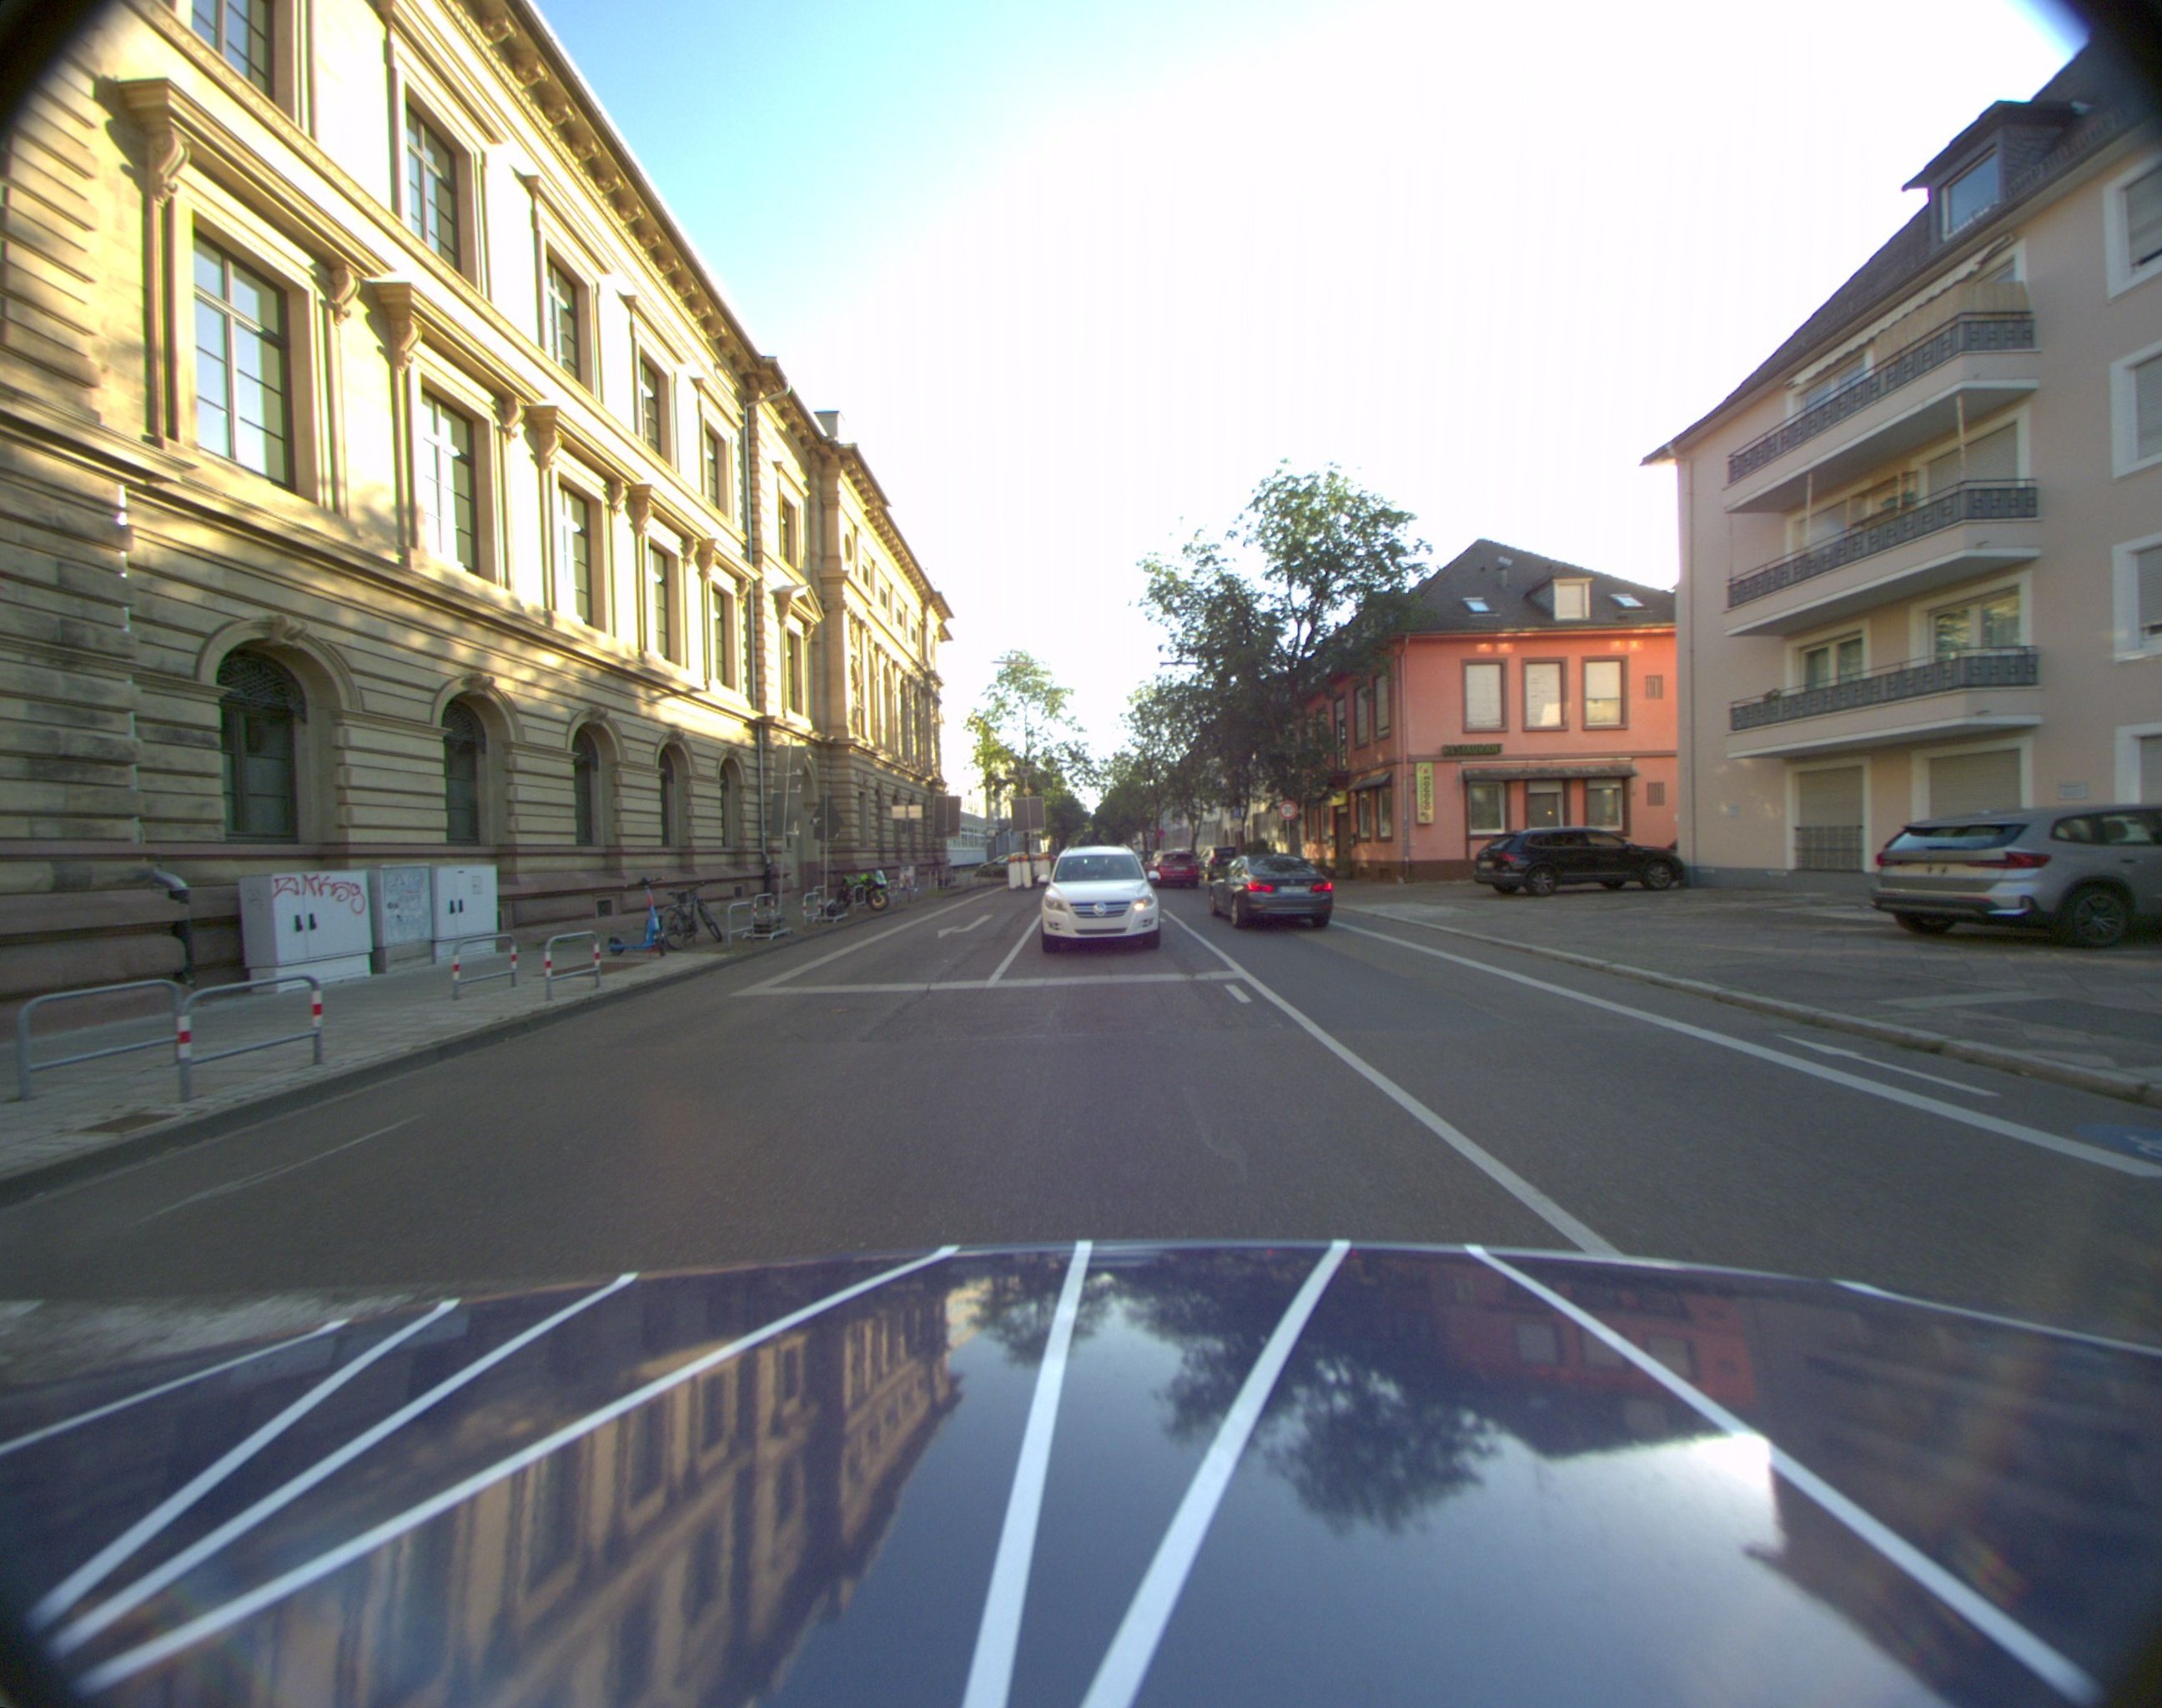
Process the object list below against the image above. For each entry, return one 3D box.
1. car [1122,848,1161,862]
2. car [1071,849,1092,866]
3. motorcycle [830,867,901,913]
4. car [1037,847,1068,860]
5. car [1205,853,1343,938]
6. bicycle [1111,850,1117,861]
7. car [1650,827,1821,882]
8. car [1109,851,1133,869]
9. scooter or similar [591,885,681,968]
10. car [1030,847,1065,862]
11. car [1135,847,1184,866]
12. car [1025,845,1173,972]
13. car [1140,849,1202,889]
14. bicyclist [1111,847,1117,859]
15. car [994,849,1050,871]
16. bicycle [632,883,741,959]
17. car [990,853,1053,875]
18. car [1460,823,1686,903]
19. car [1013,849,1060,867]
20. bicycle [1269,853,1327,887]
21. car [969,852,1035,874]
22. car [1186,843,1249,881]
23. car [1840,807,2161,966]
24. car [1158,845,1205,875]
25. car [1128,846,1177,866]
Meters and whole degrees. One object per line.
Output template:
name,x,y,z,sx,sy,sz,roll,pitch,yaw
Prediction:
car,7.014,0.140,88.237,4.230,1.499,1.800,-2,1,-2
car,0.002,0.322,73.199,1.951,1.546,3.999,-2,0,-1
motorcycle,-6.209,1.004,21.830,2.098,1.208,0.711,1,1,30
car,-3.965,-0.099,106.706,4.368,1.863,1.733,0,1,-2
car,3.842,0.744,15.886,1.786,1.451,4.422,-1,1,0
bicycle,3.823,0.128,87.955,0.626,1.149,2.052,-2,2,1
car,20.565,0.004,23.993,3.809,1.547,1.886,-2,1,-2
car,3.263,0.484,62.674,1.662,1.463,3.853,-1,0,-1
scooter or similar,-6.882,1.099,11.759,1.131,1.188,0.584,1,2,19
car,-4.193,0.074,95.067,4.369,1.768,1.733,0,1,-2
car,6.887,0.247,67.319,4.228,1.536,1.801,-1,1,3
car,0.275,0.711,12.520,1.957,1.667,4.542,-1,1,1
car,3.726,0.585,32.261,1.836,1.536,4.846,-1,0,-3
bicyclist,3.822,-0.165,88.026,0.626,1.357,0.929,-2,2,1
car,-4.709,0.464,61.228,4.369,1.633,2.054,1,1,-2
bicycle,-6.777,1.113,13.190,0.829,1.128,1.944,1,1,1
car,-4.285,0.686,54.762,4.368,1.487,1.672,1,1,0
car,12.273,0.212,19.150,4.429,1.655,1.863,-3,1,-1
car,-4.195,0.363,72.148,4.369,1.615,1.733,0,1,-2
bicycle,7.717,0.562,27.016,1.872,1.098,0.610,-2,1,-6
car,-5.374,0.605,52.140,4.369,1.456,1.833,1,1,-3
car,7.077,0.372,40.076,1.833,1.749,5.045,-6,1,-5
car,12.455,0.295,9.283,4.429,1.596,1.916,-3,1,-1
car,6.369,0.358,48.580,1.833,1.659,4.653,-6,1,-5
car,6.592,0.170,70.055,4.230,1.680,1.800,-2,1,-2
